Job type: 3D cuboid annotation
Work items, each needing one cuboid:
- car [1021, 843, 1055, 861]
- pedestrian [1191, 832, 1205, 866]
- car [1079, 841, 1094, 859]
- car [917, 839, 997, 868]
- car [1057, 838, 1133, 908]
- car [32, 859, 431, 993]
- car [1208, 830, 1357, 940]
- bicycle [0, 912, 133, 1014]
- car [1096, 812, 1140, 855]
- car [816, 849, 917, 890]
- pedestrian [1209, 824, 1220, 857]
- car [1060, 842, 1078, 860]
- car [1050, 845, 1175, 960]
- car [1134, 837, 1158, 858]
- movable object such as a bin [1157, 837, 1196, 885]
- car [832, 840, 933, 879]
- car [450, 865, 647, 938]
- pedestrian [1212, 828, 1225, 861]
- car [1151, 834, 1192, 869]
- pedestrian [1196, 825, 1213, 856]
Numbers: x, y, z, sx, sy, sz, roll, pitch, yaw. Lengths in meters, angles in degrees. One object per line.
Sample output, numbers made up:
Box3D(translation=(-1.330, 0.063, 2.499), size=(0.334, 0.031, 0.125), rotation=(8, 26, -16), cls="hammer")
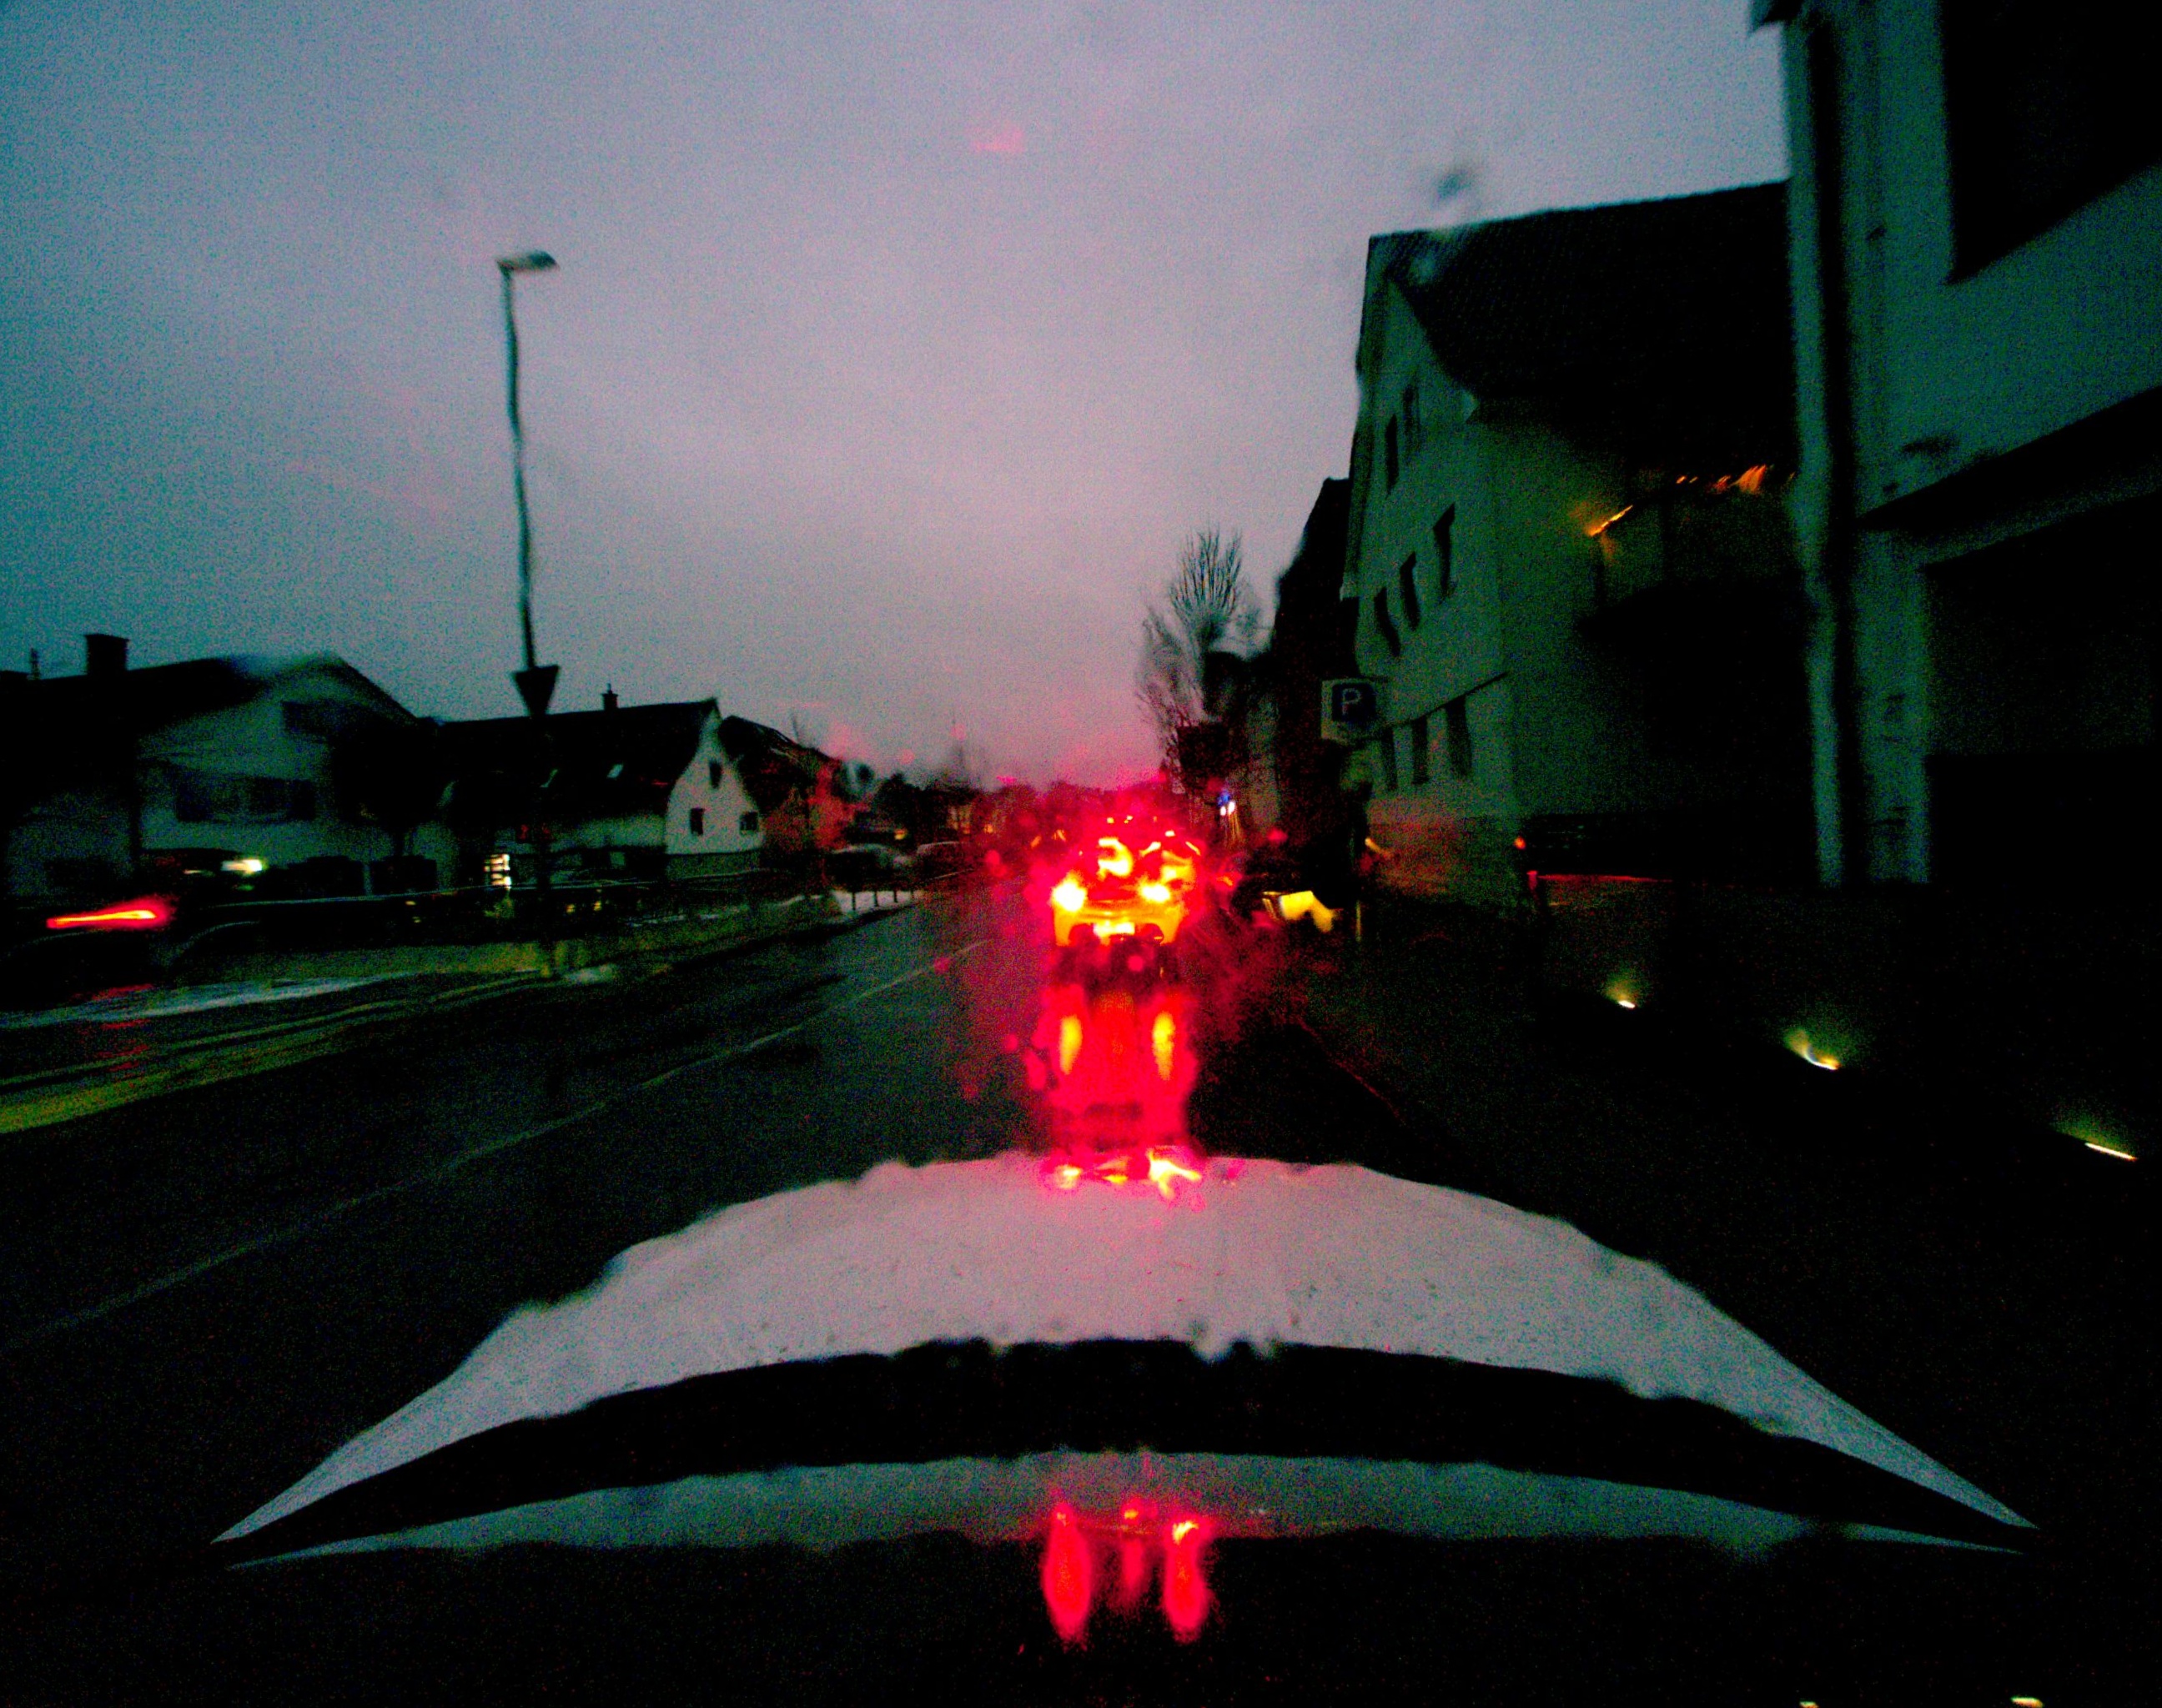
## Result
Box3D(translation=(-5.519, -0.273, 105.161), size=(2.011, 2.166, 4.332), rotation=(0, -2, -44), cls="car")
Box3D(translation=(5.998, -0.277, 41.776), size=(0.570, 1.699, 0.654), rotation=(-4, 0, 4), cls="pedestrian")
Box3D(translation=(0.707, -0.453, 106.173), size=(1.913, 2.215, 3.975), rotation=(-1, -1, 1), cls="car")
Box3D(translation=(-7.750, -0.047, 51.238), size=(4.610, 1.667, 2.000), rotation=(-2, 0, 0), cls="car")
Box3D(translation=(0.405, 0.413, 21.141), size=(1.759, 1.628, 3.588), rotation=(-1, 1, 2), cls="car")
Box3D(translation=(-14.506, 1.100, 14.407), size=(1.745, 1.700, 4.576), rotation=(-6, 1, 8), cls="car")
Box3D(translation=(3.270, 0.402, 14.006), size=(1.720, 1.464, 4.205), rotation=(-5, 1, 5), cls="car")
Box3D(translation=(-11.944, 1.240, 9.051), size=(0.466, 1.010, 1.747), rotation=(-3, 1, 19), cls="bicycle")
Box3D(translation=(2.878, -1.555, 65.279), size=(3.181, 3.031, 6.302), rotation=(-1, -1, -1), cls="car")
Box3D(translation=(-8.413, 0.608, 32.117), size=(3.432, 1.372, 1.601), rotation=(-3, 1, 1), cls="car")
Box3D(translation=(7.386, -0.774, 45.116), size=(0.525, 1.800, 0.867), rotation=(-1, 1, 12), cls="pedestrian")
Box3D(translation=(-1.428, -0.304, 98.353), size=(1.913, 2.027, 3.975), rotation=(-1, -1, 1), cls="car")
Box3D(translation=(0.474, 0.609, 11.886), size=(1.556, 1.412, 3.020), rotation=(-1, 1, 2), cls="car")
Box3D(translation=(5.965, -0.589, 75.194), size=(1.989, 1.865, 4.086), rotation=(-2, 0, 3), cls="car")
Box3D(translation=(3.144, 0.208, 26.955), size=(1.124, 1.420, 1.419), rotation=(-6, 1, 5), cls="movable object such as a bin")
Box3D(translation=(-8.464, 0.238, 34.919), size=(3.771, 1.523, 1.719), rotation=(-2, 0, 9), cls="car")
Box3D(translation=(-13.775, 1.146, 21.492), size=(1.794, 1.482, 4.578), rotation=(-5, 0, 5), cls="car")
Box3D(translation=(6.975, -0.477, 41.259), size=(0.525, 1.653, 0.957), rotation=(-2, -2, 12), cls="pedestrian")
Box3D(translation=(4.749, -0.151, 43.273), size=(1.729, 1.692, 4.388), rotation=(-3, 1, 2), cls="car")
Box3D(translation=(7.158, -0.769, 47.113), size=(0.707, 1.715, 1.039), rotation=(-4, 1, 16), cls="pedestrian")
